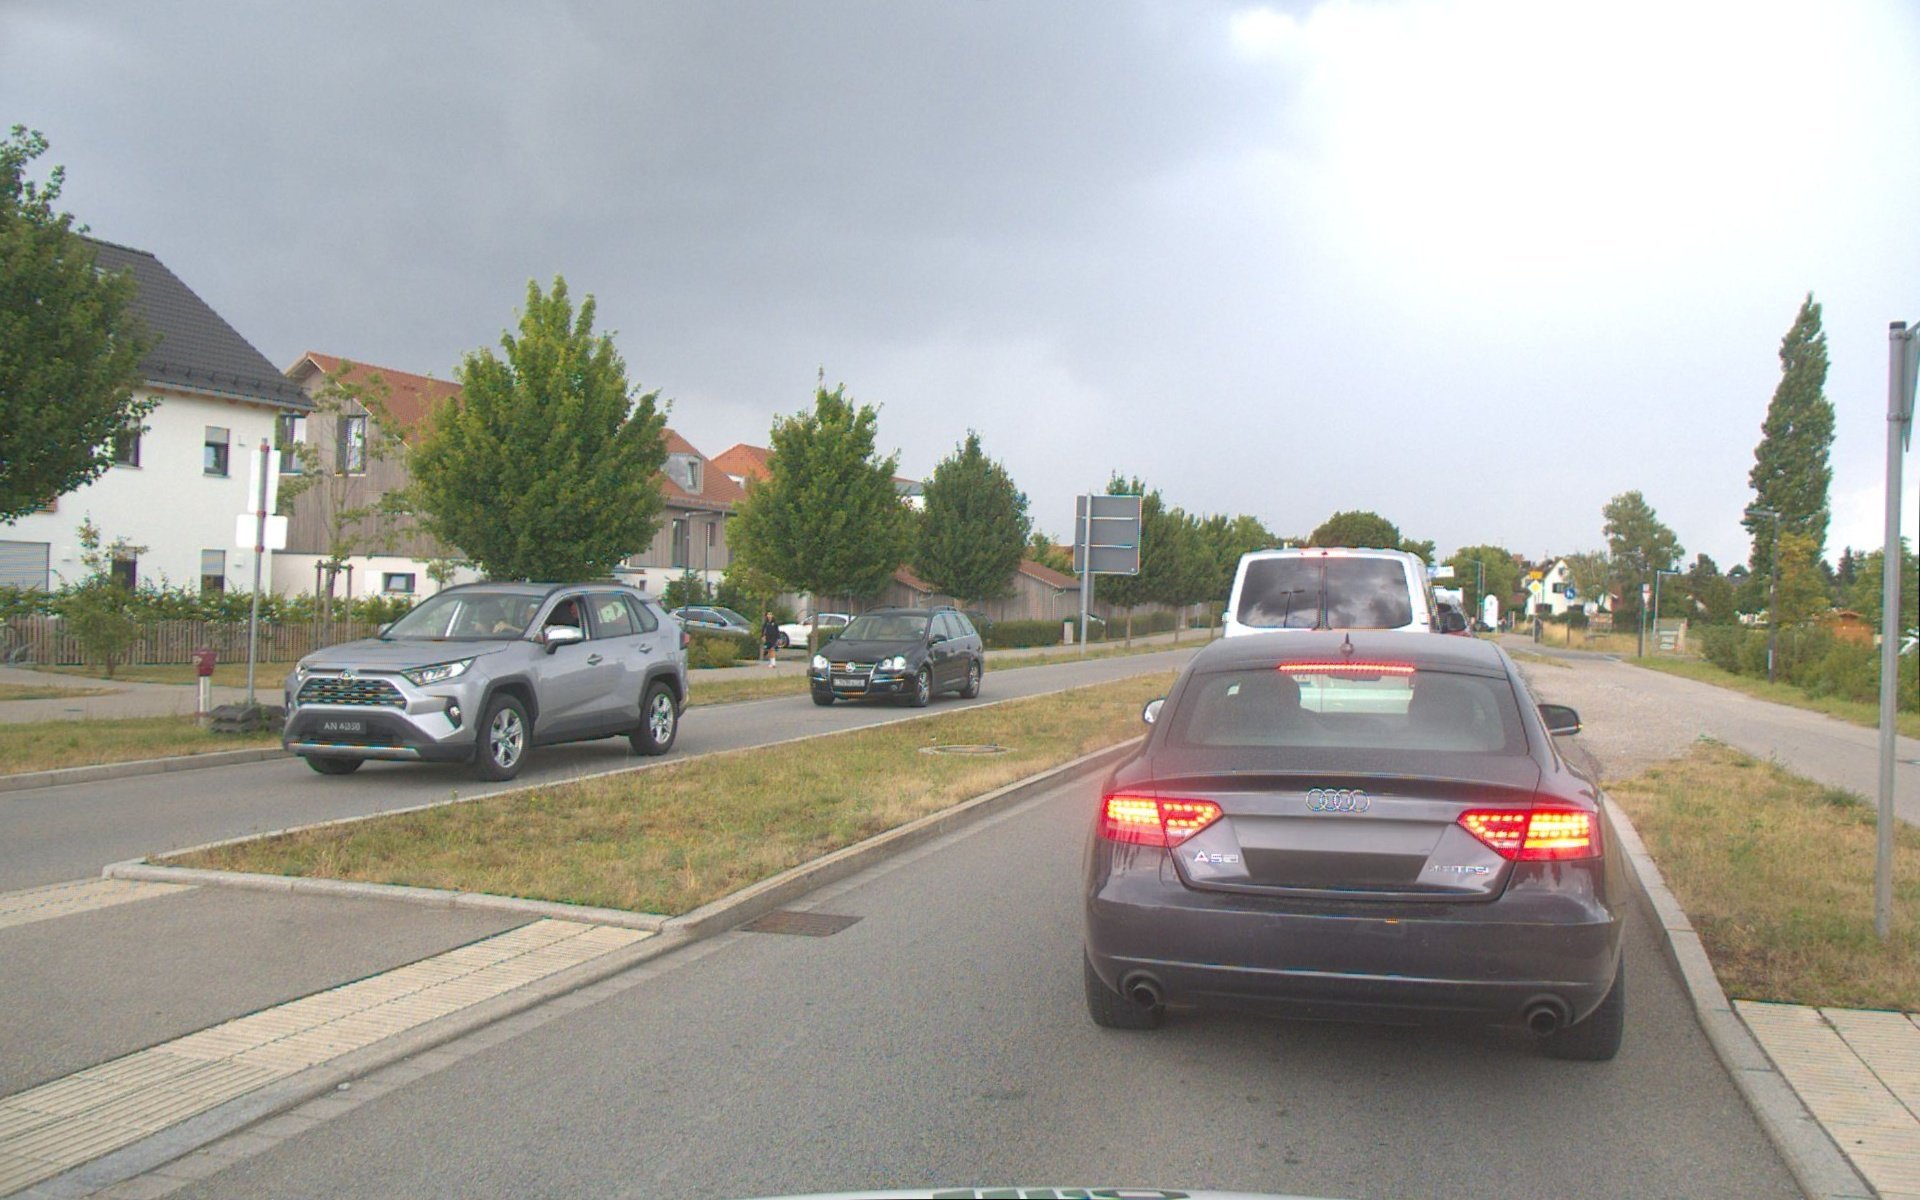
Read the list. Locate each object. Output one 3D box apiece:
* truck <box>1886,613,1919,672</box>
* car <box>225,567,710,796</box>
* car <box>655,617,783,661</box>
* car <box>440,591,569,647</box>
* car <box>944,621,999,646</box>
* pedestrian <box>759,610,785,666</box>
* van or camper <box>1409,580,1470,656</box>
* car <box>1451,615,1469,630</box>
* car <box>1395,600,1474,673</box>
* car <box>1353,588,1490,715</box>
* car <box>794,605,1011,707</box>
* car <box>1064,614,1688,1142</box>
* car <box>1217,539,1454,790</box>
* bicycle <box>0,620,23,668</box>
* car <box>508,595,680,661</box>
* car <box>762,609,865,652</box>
[{"bbox_3d":[33.531,1.479,54.653,4.694,1.905,2.002,2,0,13],"label":"truck"},{"bbox_3d":[-4.194,0.632,15.030,1.952,1.733,4.637,0,0,18],"label":"car"},{"bbox_3d":[-8.131,1.298,55.897,3.831,1.338,1.844,2,0,15],"label":"car"},{"bbox_3d":[-15.654,0.655,57.080,1.953,1.803,4.464,2,-1,22],"label":"car"},{"bbox_3d":[0.571,1.595,79.074,2.419,1.046,1.186,2,0,12],"label":"car"},{"bbox_3d":[-5.379,1.084,47.338,0.572,1.586,0.656,2,0,-18],"label":"pedestrian"},{"bbox_3d":[22.768,0.895,78.565,2.569,3.382,6.825,2,-1,16],"label":"van or camper"},{"bbox_3d":[47.519,2.134,157.177,1.580,1.294,3.463,2,0,18],"label":"car"},{"bbox_3d":[11.612,0.873,40.431,1.739,1.646,4.002,1,-1,17],"label":"car"},{"bbox_3d":[6.792,0.698,24.201,1.739,1.646,4.002,2,0,17],"label":"car"},{"bbox_3d":[-0.778,0.806,25.726,1.717,1.441,4.455,0,-1,22],"label":"car"},{"bbox_3d":[1.691,0.788,6.800,1.746,1.416,4.135,1,0,15],"label":"car"},{"bbox_3d":[3.534,0.508,15.394,1.827,1.968,4.003,2,0,14],"label":"car"},{"bbox_3d":[-17.822,0.798,30.007,0.360,0.858,1.547,4,1,19],"label":"bicycle"},{"bbox_3d":[-10.591,0.779,47.878,4.437,1.709,2.000,2,0,20],"label":"car"},{"bbox_3d":[-5.744,1.185,65.185,3.650,1.508,1.688,2,0,14],"label":"car"}]
